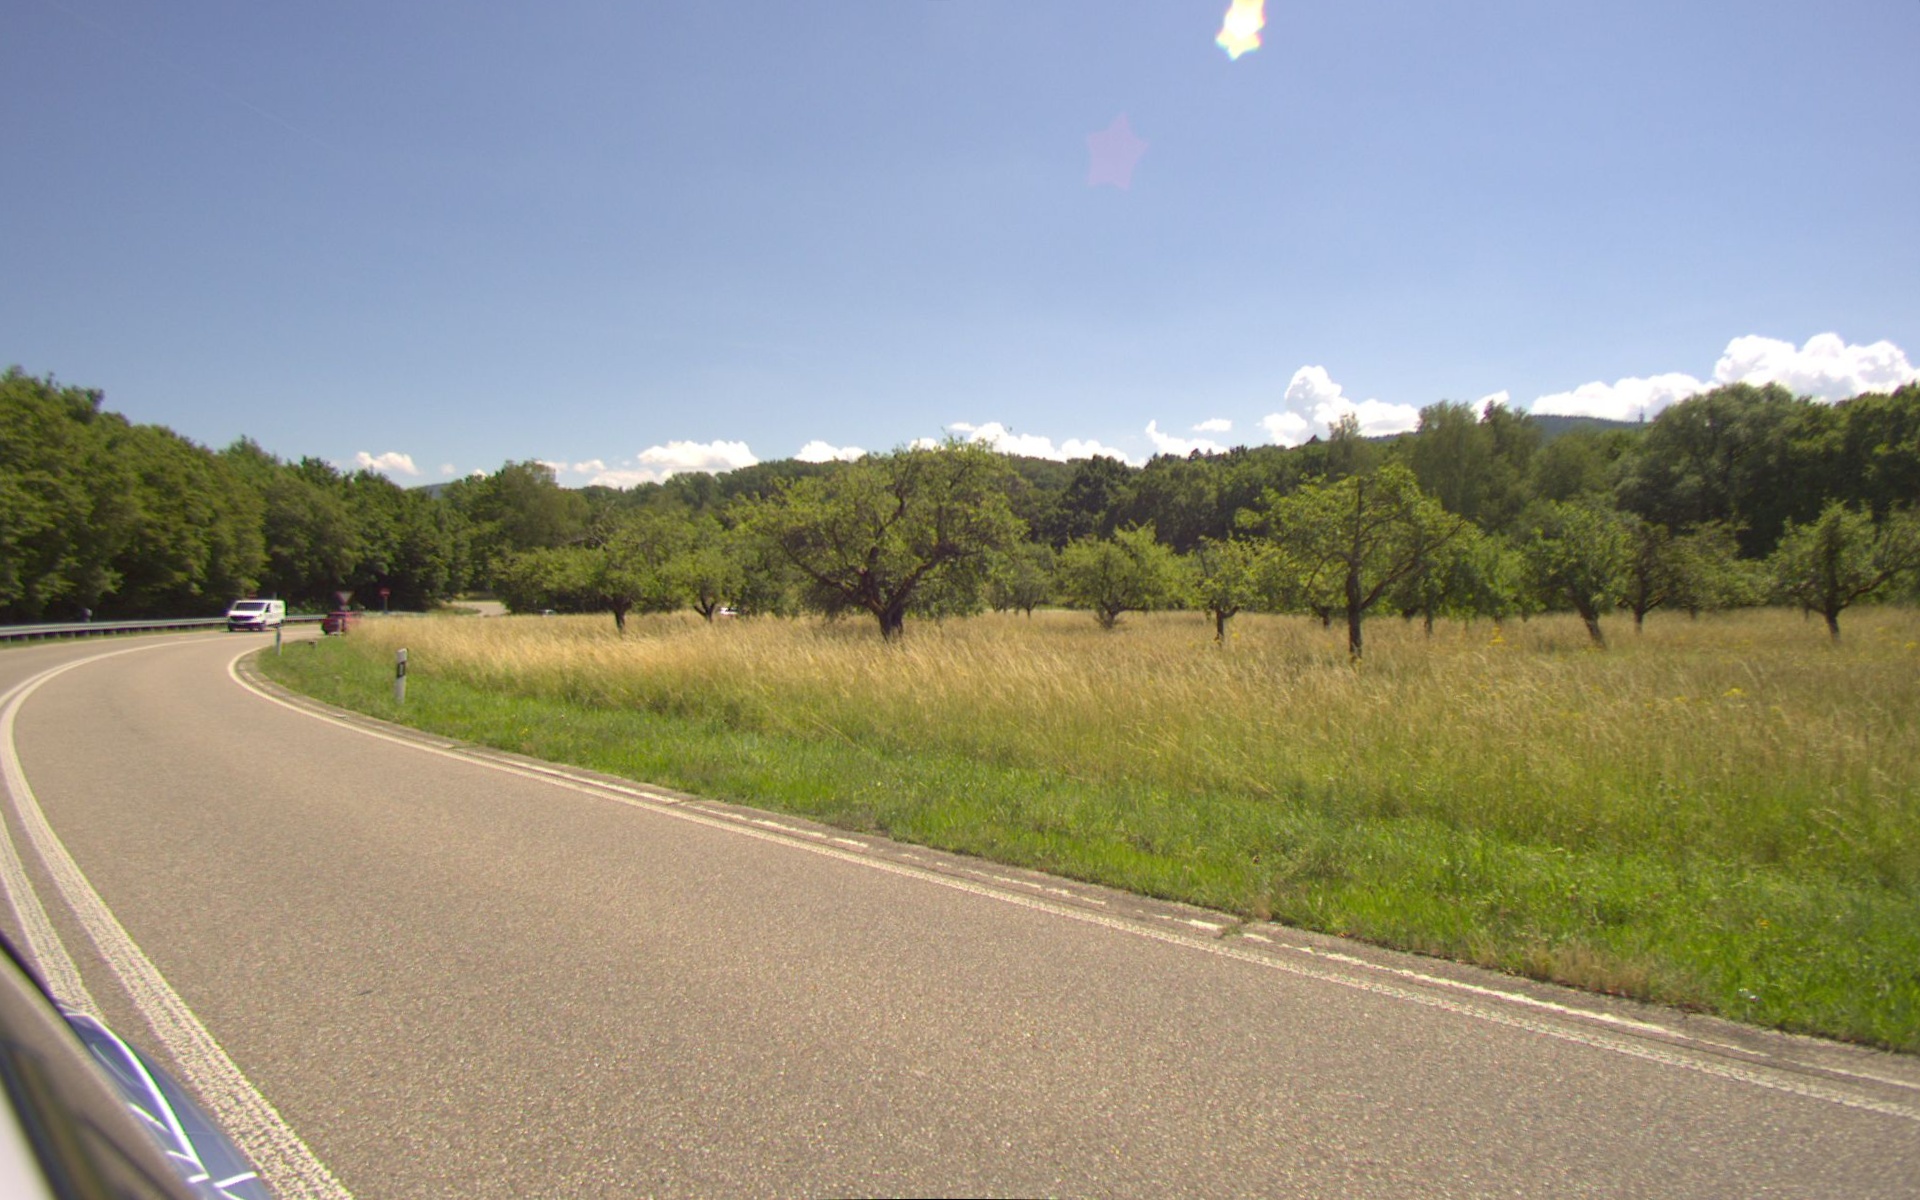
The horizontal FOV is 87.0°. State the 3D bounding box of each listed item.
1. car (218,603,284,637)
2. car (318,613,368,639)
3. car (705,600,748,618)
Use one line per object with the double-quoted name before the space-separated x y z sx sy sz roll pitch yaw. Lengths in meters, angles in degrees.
"car" -45.472 1.270 65.036 2.187 2.048 5.445 -1 0 -21
"car" -39.378 1.637 64.705 1.797 1.469 4.414 4 -1 -20
"car" -24.808 0.984 107.638 1.828 1.602 4.158 2 -2 43
